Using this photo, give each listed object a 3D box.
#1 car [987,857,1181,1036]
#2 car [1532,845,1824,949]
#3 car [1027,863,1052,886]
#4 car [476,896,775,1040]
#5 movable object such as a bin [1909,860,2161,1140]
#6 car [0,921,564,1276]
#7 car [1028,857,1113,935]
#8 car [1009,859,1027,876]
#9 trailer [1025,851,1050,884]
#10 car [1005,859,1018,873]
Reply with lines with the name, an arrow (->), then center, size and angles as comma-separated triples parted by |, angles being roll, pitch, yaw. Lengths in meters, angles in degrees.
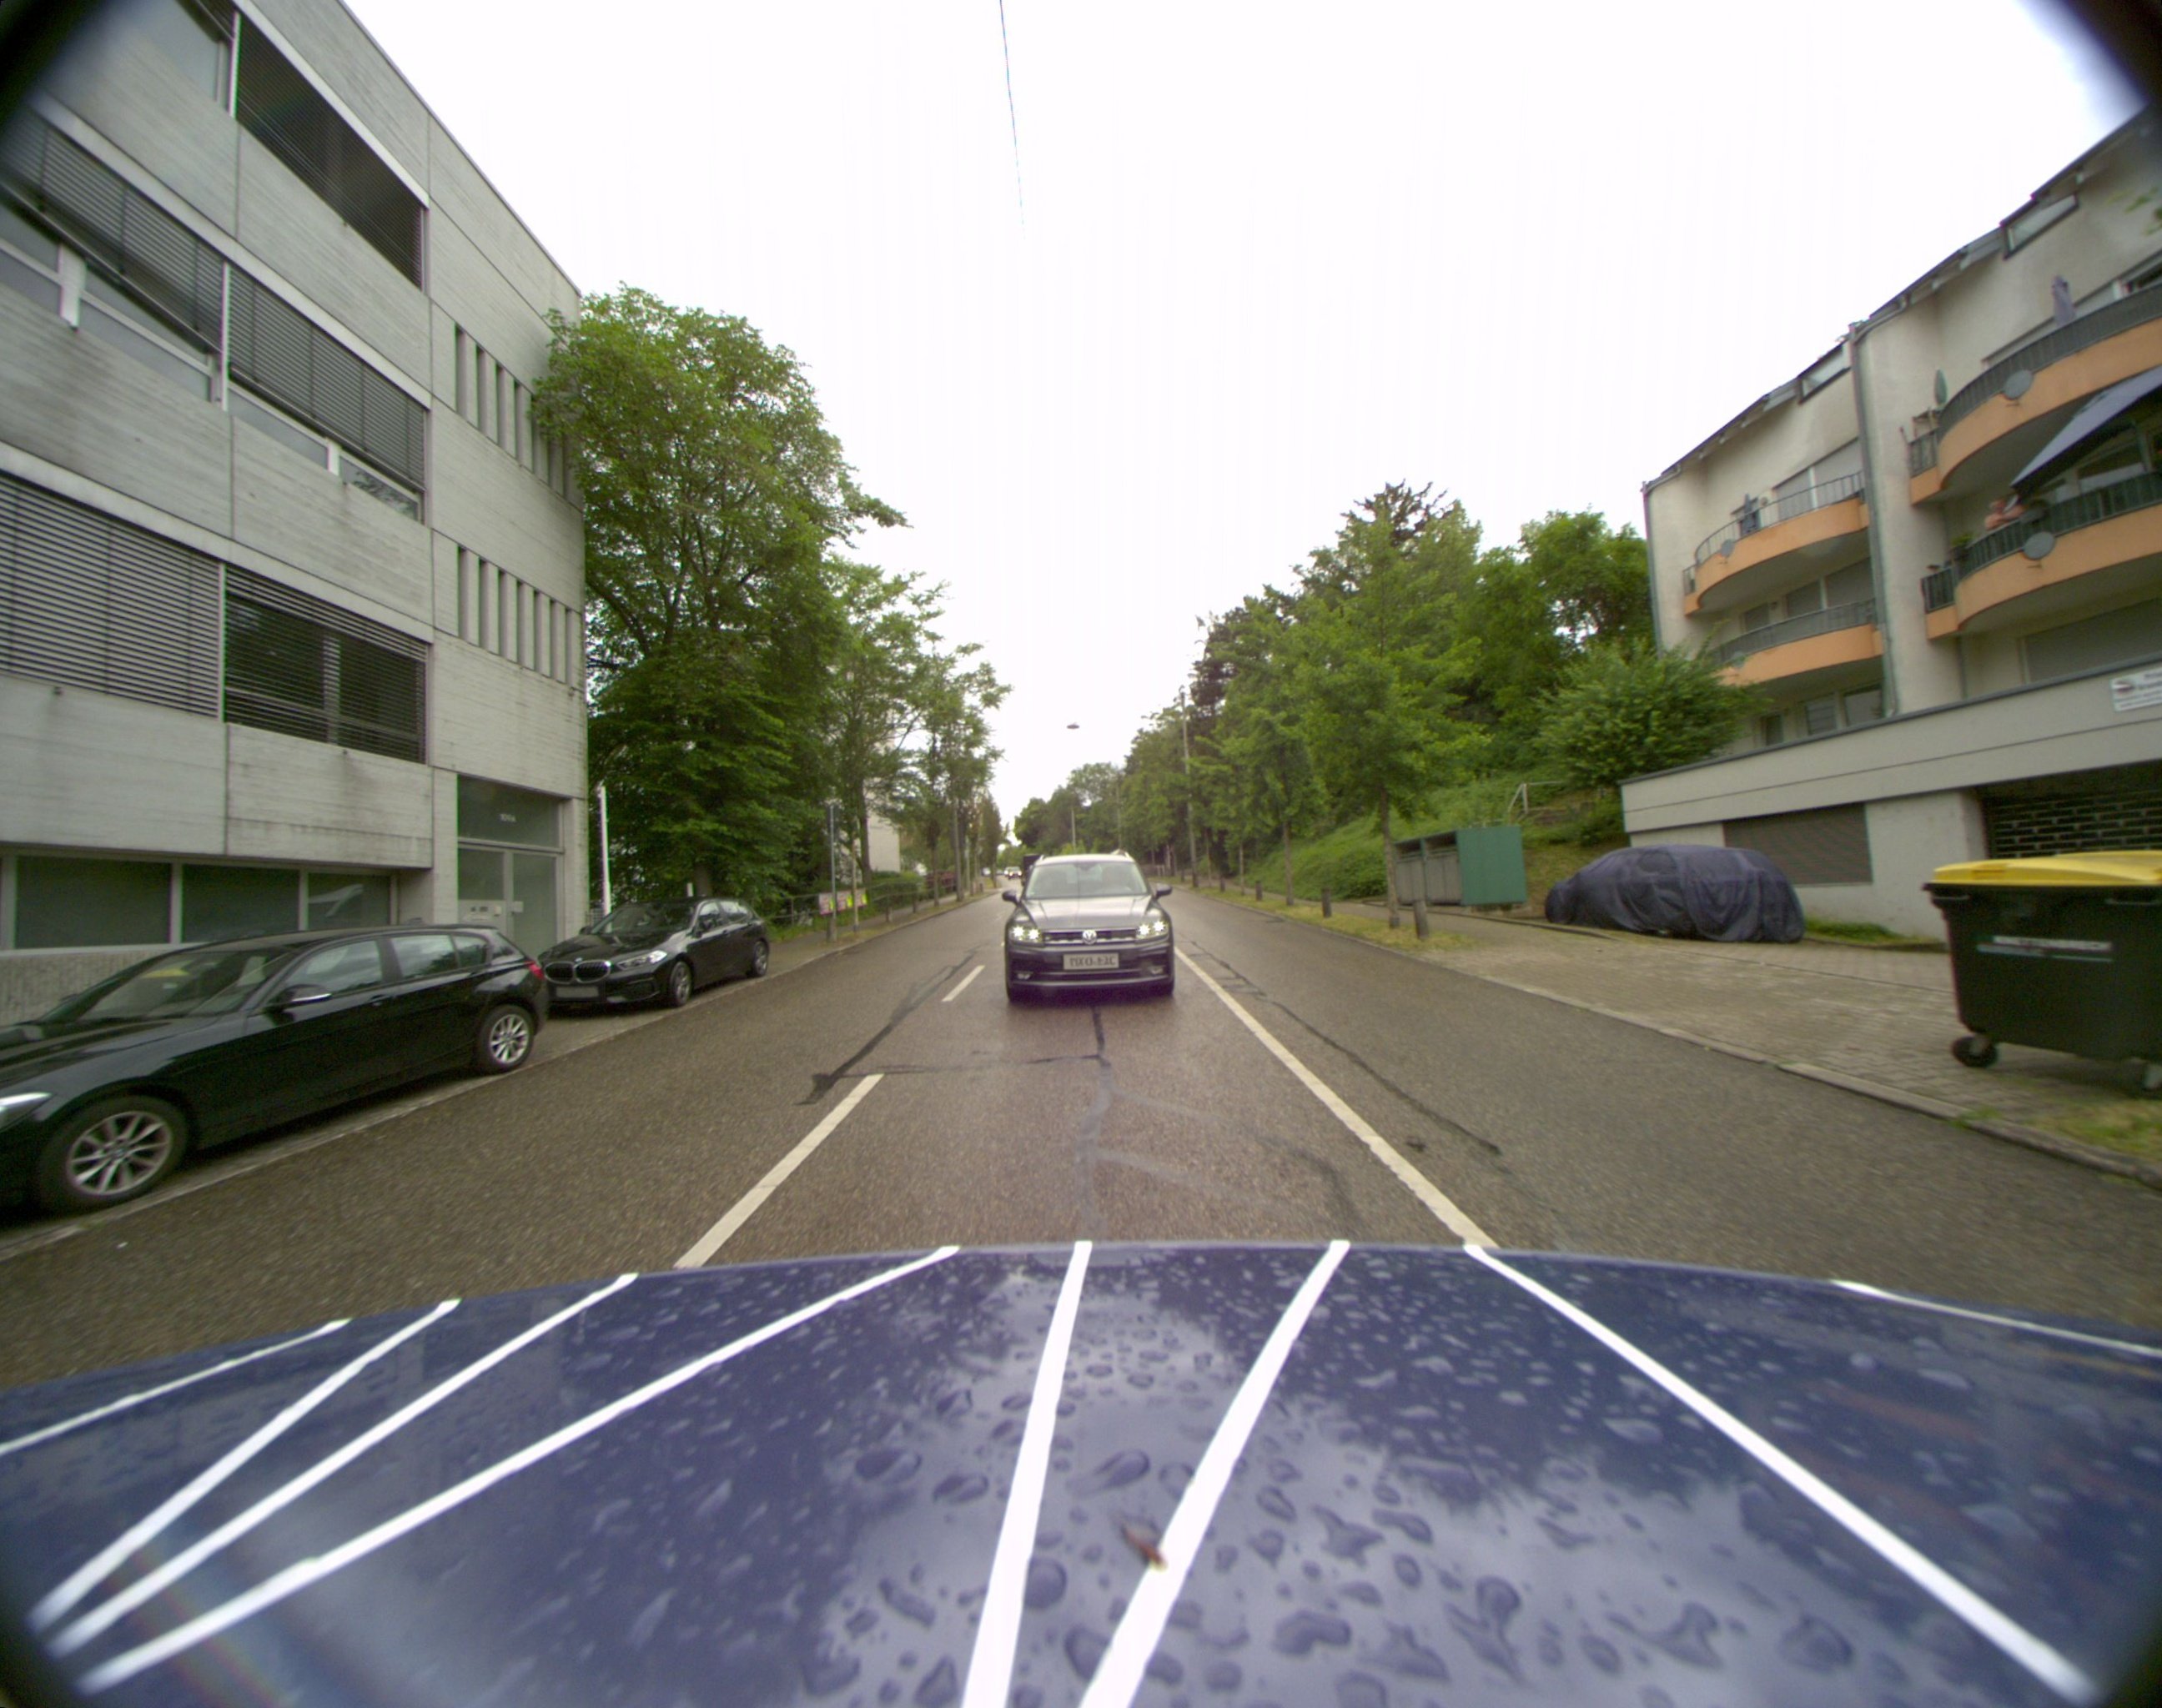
car -> 0.051, 0.906, 9.477 | 1.786, 1.631, 4.200 | -4, 0, 1
car -> 9.732, 0.630, 12.855 | 1.856, 1.483, 3.865 | 1, 0, -1
car -> -3.306, 1.623, 60.189 | 1.737, 1.610, 3.473 | -4, 1, -6
car -> -6.243, 1.467, 11.113 | 1.843, 1.435, 4.155 | -2, 0, -1
movable object such as a bin -> 6.044, 0.754, 4.425 | 1.227, 1.343, 1.122 | -4, 1, -8
car -> -6.172, 1.439, 5.559 | 1.710, 1.435, 4.098 | -4, 0, 3
car -> -0.218, 0.957, 19.120 | 1.786, 1.631, 4.200 | -4, 0, 1
car -> -8.571, 1.810, 103.320 | 2.000, 2.002, 3.997 | -4, 1, -8
trailer -> -3.651, 1.094, 63.406 | 1.771, 2.610, 3.031 | -4, 1, -5
car -> -11.754, 1.992, 127.746 | 1.999, 2.002, 3.997 | -4, 1, -6
